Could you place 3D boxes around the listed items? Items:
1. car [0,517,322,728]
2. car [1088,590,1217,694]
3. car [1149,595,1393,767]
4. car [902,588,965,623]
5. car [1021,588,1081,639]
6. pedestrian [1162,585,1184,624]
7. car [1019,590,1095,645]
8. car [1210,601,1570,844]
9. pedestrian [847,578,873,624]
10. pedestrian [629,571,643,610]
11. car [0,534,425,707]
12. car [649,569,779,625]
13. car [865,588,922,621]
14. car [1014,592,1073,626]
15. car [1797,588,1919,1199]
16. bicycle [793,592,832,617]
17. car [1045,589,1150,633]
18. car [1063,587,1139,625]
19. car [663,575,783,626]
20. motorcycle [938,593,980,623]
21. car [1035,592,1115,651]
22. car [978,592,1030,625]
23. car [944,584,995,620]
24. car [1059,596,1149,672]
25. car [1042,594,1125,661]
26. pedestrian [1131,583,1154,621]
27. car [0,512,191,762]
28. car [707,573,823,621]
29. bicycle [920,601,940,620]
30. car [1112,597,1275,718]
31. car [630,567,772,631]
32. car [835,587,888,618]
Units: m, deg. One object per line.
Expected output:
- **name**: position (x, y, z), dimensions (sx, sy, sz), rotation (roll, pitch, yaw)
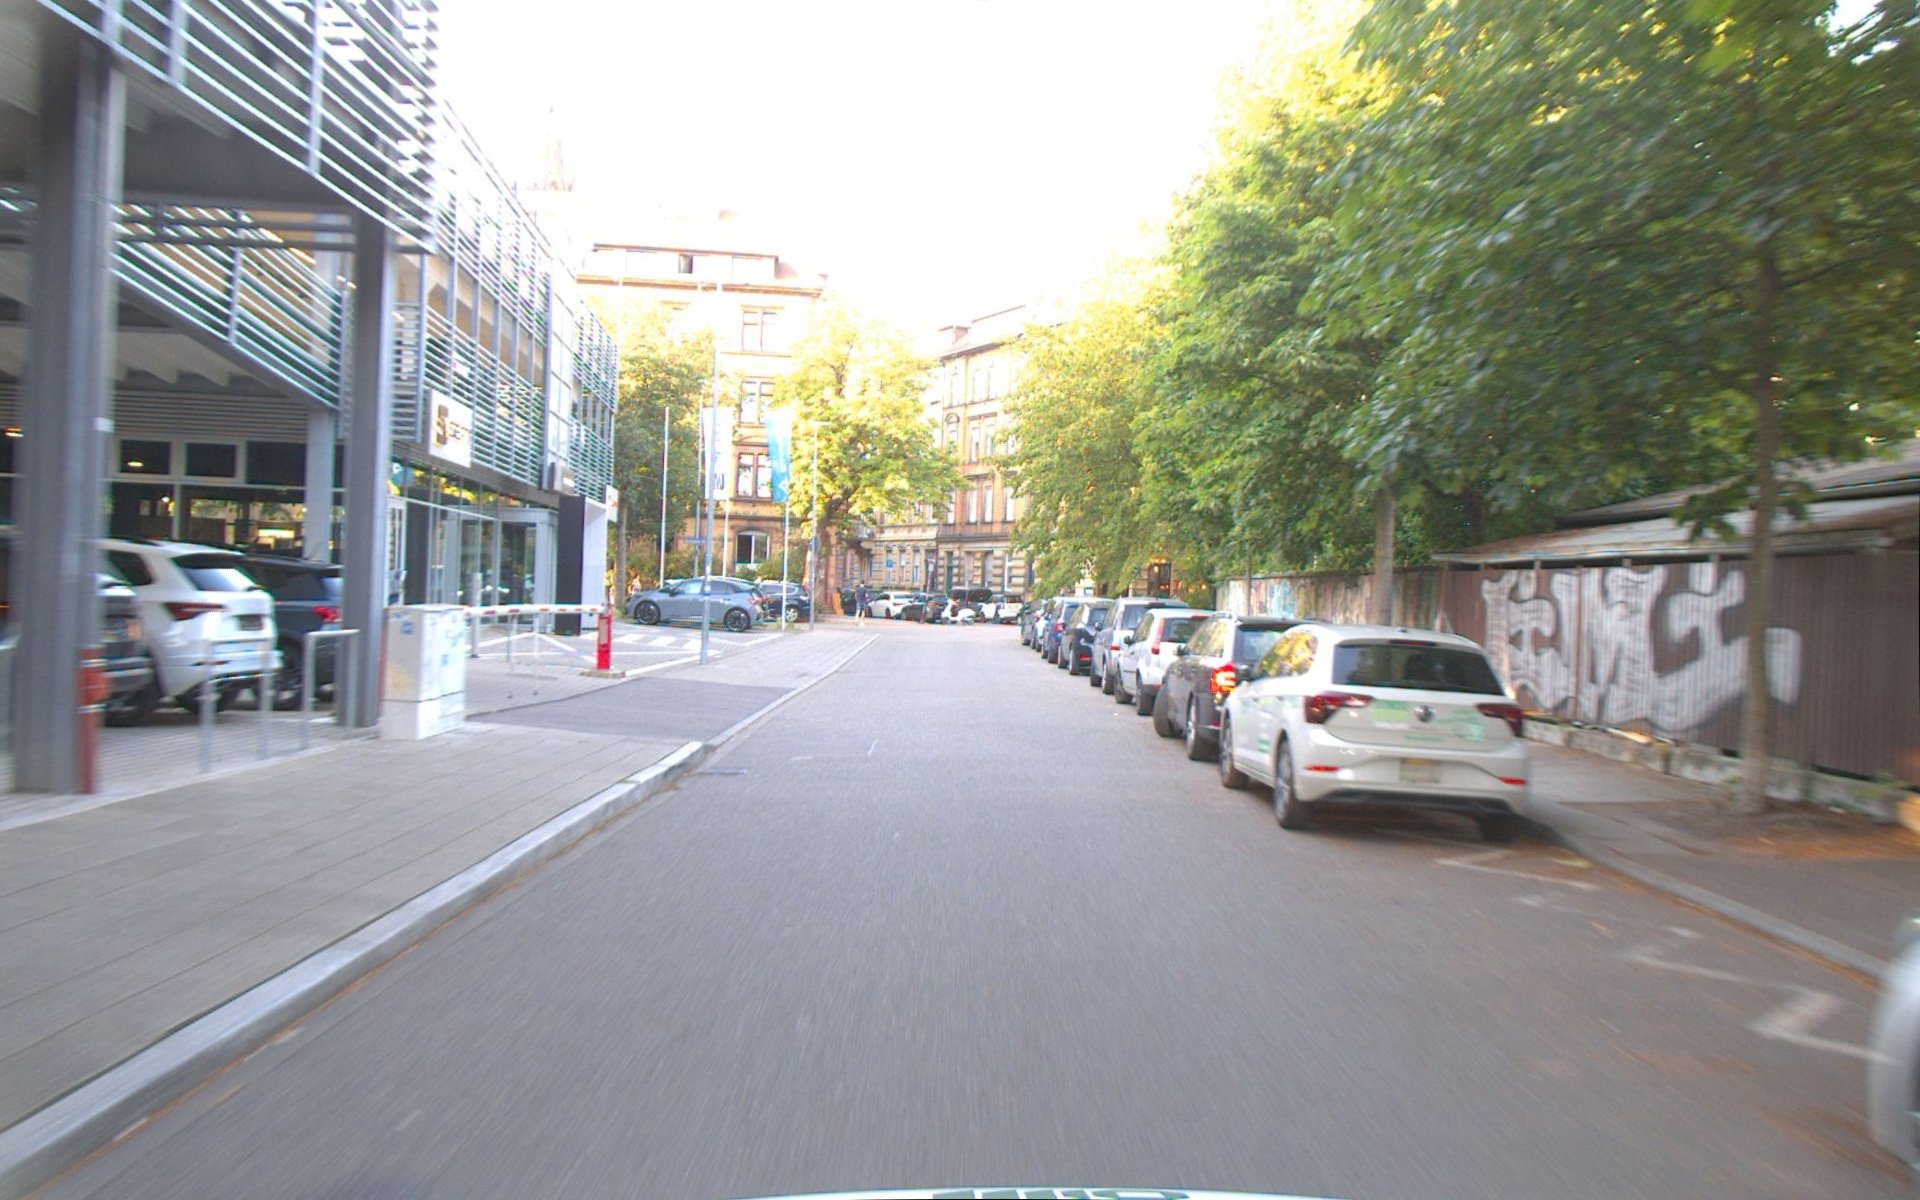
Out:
- **car**: position (-8.117, 0.136, 14.860), dimensions (3.996, 1.713, 1.860), rotation (2, 1, 0)
- **car**: position (3.293, 0.674, 28.908), dimensions (1.723, 1.632, 3.873), rotation (2, 0, -1)
- **car**: position (3.178, 0.759, 17.773), dimensions (1.723, 1.480, 4.392), rotation (2, 1, -1)
- **car**: position (-1.342, 0.252, 81.188), dimensions (1.633, 1.455, 3.961), rotation (2, 1, -24)
- **car**: position (2.975, 0.422, 54.886), dimensions (1.661, 1.598, 3.971), rotation (2, 0, -1)
- **pedestrian**: position (10.174, 0.204, 79.041), dimensions (0.760, 1.835, 0.840), rotation (2, 1, -15)
- **car**: position (2.885, 0.494, 49.851), dimensions (1.662, 1.502, 4.208), rotation (2, 0, -5)
- **car**: position (3.168, 0.820, 13.019), dimensions (1.723, 1.467, 4.005), rotation (2, 1, -1)
- **pedestrian**: position (-4.081, 0.044, 67.256), dimensions (0.724, 1.835, 1.115), rotation (1, 1, -21)
- **pedestrian**: position (-14.192, -0.422, 72.441), dimensions (0.532, 1.663, 0.448), rotation (2, 1, -5)
- **car**: position (-7.939, 0.226, 17.491), dimensions (3.907, 1.613, 1.859), rotation (2, -1, -3)
- **car**: position (-7.974, -0.124, 53.919), dimensions (3.985, 1.646, 1.765), rotation (2, 1, -3)
- **car**: position (-3.474, 0.207, 85.709), dimensions (1.632, 1.455, 4.140), rotation (2, 1, -22)
- **car**: position (4.168, 0.437, 83.007), dimensions (1.653, 1.552, 3.219), rotation (1, 1, -24)
- **car**: position (3.232, 0.814, 2.616), dimensions (1.687, 1.546, 4.025), rotation (2, 1, -1)
- **bicycle**: position (-6.474, 0.208, 72.623), dimensions (1.650, 1.046, 0.442), rotation (1, 1, -25)
- **car**: position (5.149, 0.417, 61.719), dimensions (1.849, 1.492, 3.946), rotation (4, 1, 43)
- **car**: position (6.599, 0.266, 77.830), dimensions (1.889, 1.552, 3.867), rotation (2, 2, -24)
- **car**: position (-8.341, 0.002, 58.508), dimensions (3.966, 1.500, 1.919), rotation (4, 1, -5)
- **motorcycle**: position (-0.052, 0.369, 78.084), dimensions (1.897, 1.364, 0.576), rotation (2, 1, -11)
- **car**: position (3.119, 0.552, 45.447), dimensions (1.661, 1.502, 3.557), rotation (2, 0, -4)
- **car**: position (2.265, 0.431, 86.431), dimensions (1.653, 1.552, 2.746), rotation (2, 1, -24)
- **car**: position (0.493, 0.087, 89.959), dimensions (1.653, 1.813, 2.992), rotation (2, 1, -24)
- **car**: position (3.073, 0.699, 35.888), dimensions (1.564, 1.502, 3.773), rotation (2, 0, -1)
- **car**: position (2.981, 0.644, 40.686), dimensions (1.660, 1.502, 4.117), rotation (2, 0, -1)
- **pedestrian**: position (8.942, 0.112, 81.162), dimensions (0.828, 1.835, 0.771), rotation (1, 1, -21)
- **car**: position (-8.214, 0.173, 12.371), dimensions (4.003, 1.713, 1.860), rotation (2, 1, 0)
- **car**: position (-8.244, -0.144, 69.971), dimensions (4.737, 1.762, 1.918), rotation (3, 1, -7)
- **bicycle**: position (-1.374, 0.473, 75.997), dimensions (0.416, 0.836, 1.462), rotation (2, 1, 21)
- **car**: position (3.279, 0.765, 23.900), dimensions (1.723, 1.466, 3.874), rotation (2, 1, -1)
- **car**: position (-7.956, -0.056, 51.049), dimensions (4.047, 1.645, 1.912), rotation (4, 1, -3)
- **car**: position (-5.399, 0.119, 90.243), dimensions (1.633, 1.455, 3.867), rotation (2, 1, -24)
